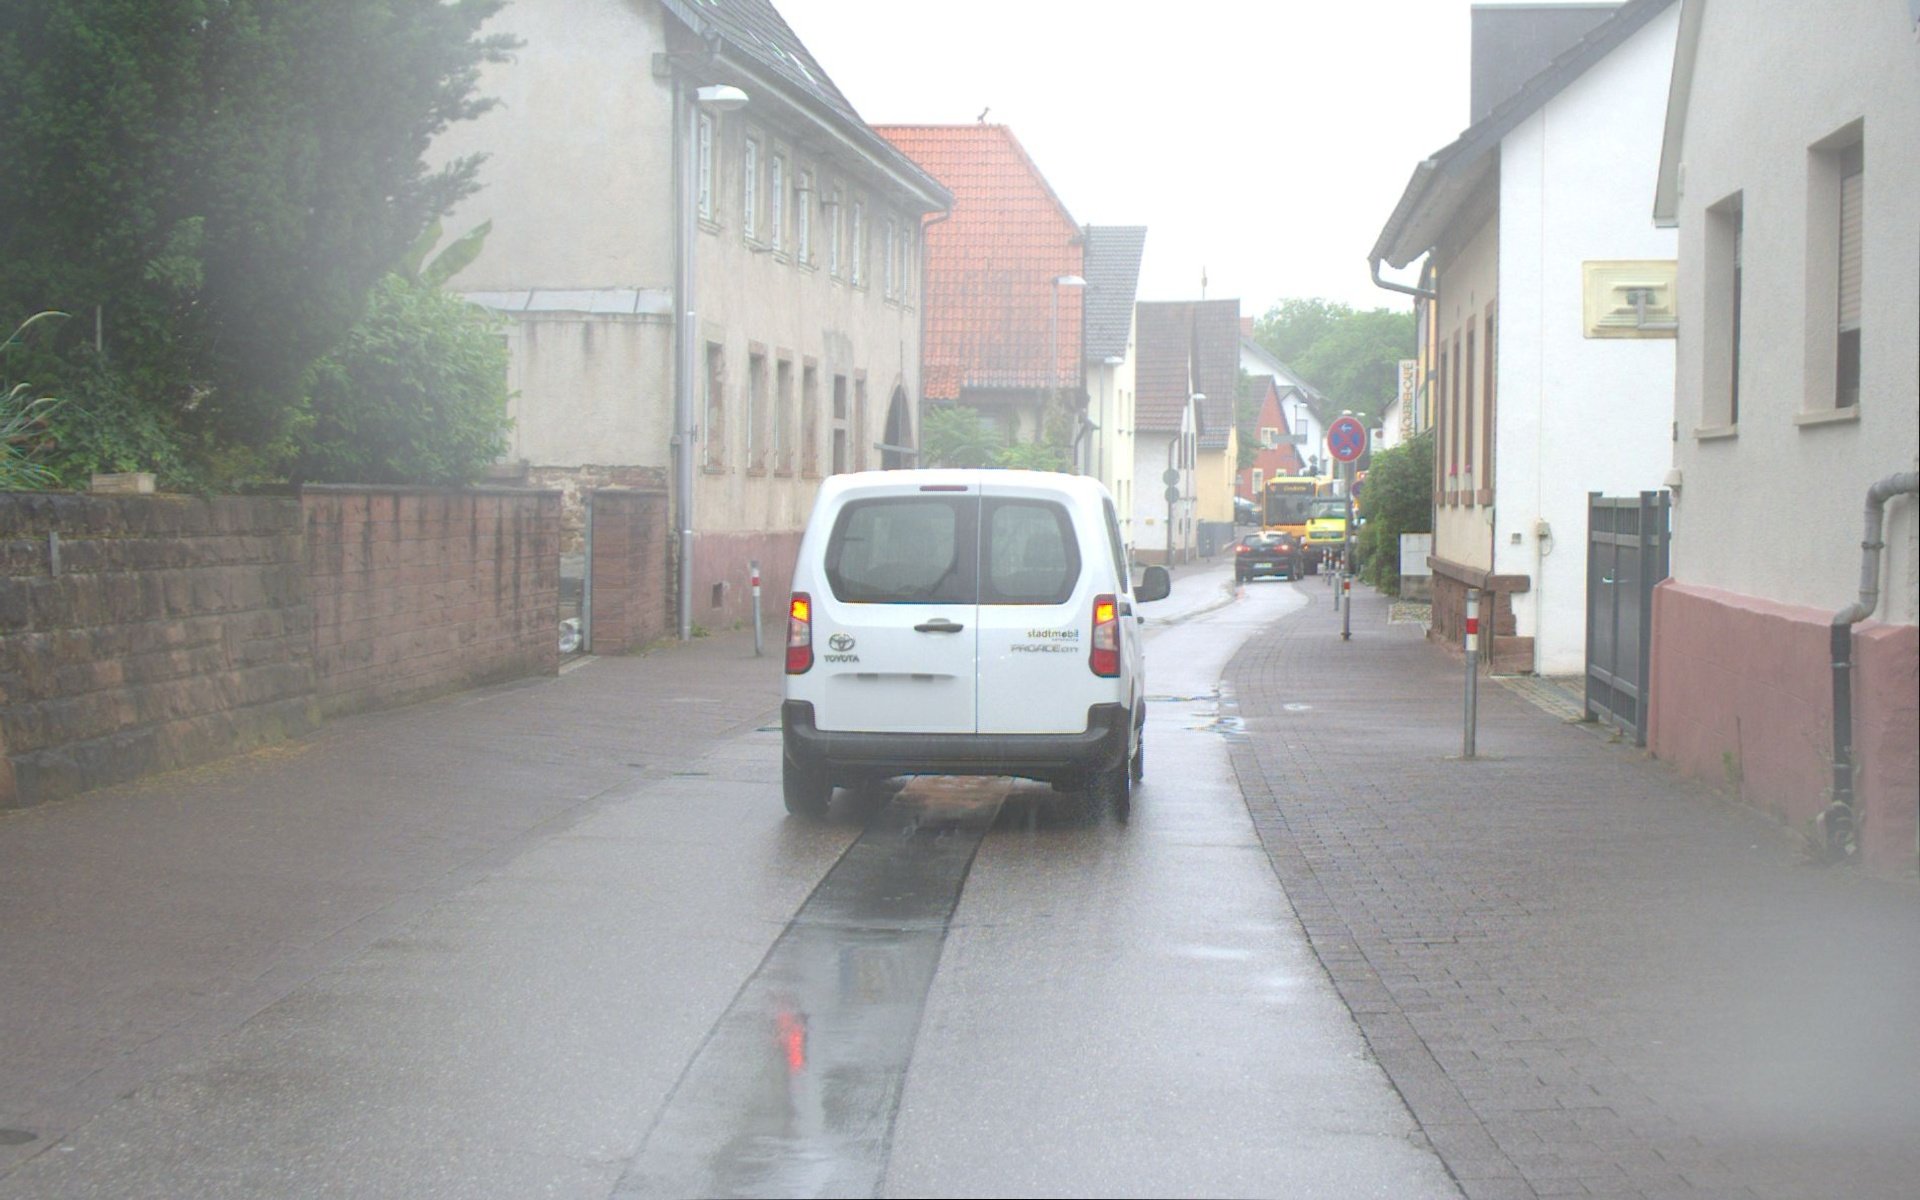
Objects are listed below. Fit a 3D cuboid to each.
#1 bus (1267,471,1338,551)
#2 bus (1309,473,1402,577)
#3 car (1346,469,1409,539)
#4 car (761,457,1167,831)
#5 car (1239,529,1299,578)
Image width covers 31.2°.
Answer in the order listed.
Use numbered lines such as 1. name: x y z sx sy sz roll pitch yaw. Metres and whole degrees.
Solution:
1. bus: 15.473 -3.961 154.846 2.794 3.317 8.175 3 1 7
2. bus: 13.052 -2.424 113.076 2.794 3.169 8.175 3 1 7
3. car: 12.858 -2.941 105.842 1.827 2.007 3.693 2 1 7
4. car: 0.136 0.197 18.839 1.795 1.812 4.101 -1 1 6
5. car: 9.116 -1.372 101.273 1.562 1.367 3.584 2 1 8
